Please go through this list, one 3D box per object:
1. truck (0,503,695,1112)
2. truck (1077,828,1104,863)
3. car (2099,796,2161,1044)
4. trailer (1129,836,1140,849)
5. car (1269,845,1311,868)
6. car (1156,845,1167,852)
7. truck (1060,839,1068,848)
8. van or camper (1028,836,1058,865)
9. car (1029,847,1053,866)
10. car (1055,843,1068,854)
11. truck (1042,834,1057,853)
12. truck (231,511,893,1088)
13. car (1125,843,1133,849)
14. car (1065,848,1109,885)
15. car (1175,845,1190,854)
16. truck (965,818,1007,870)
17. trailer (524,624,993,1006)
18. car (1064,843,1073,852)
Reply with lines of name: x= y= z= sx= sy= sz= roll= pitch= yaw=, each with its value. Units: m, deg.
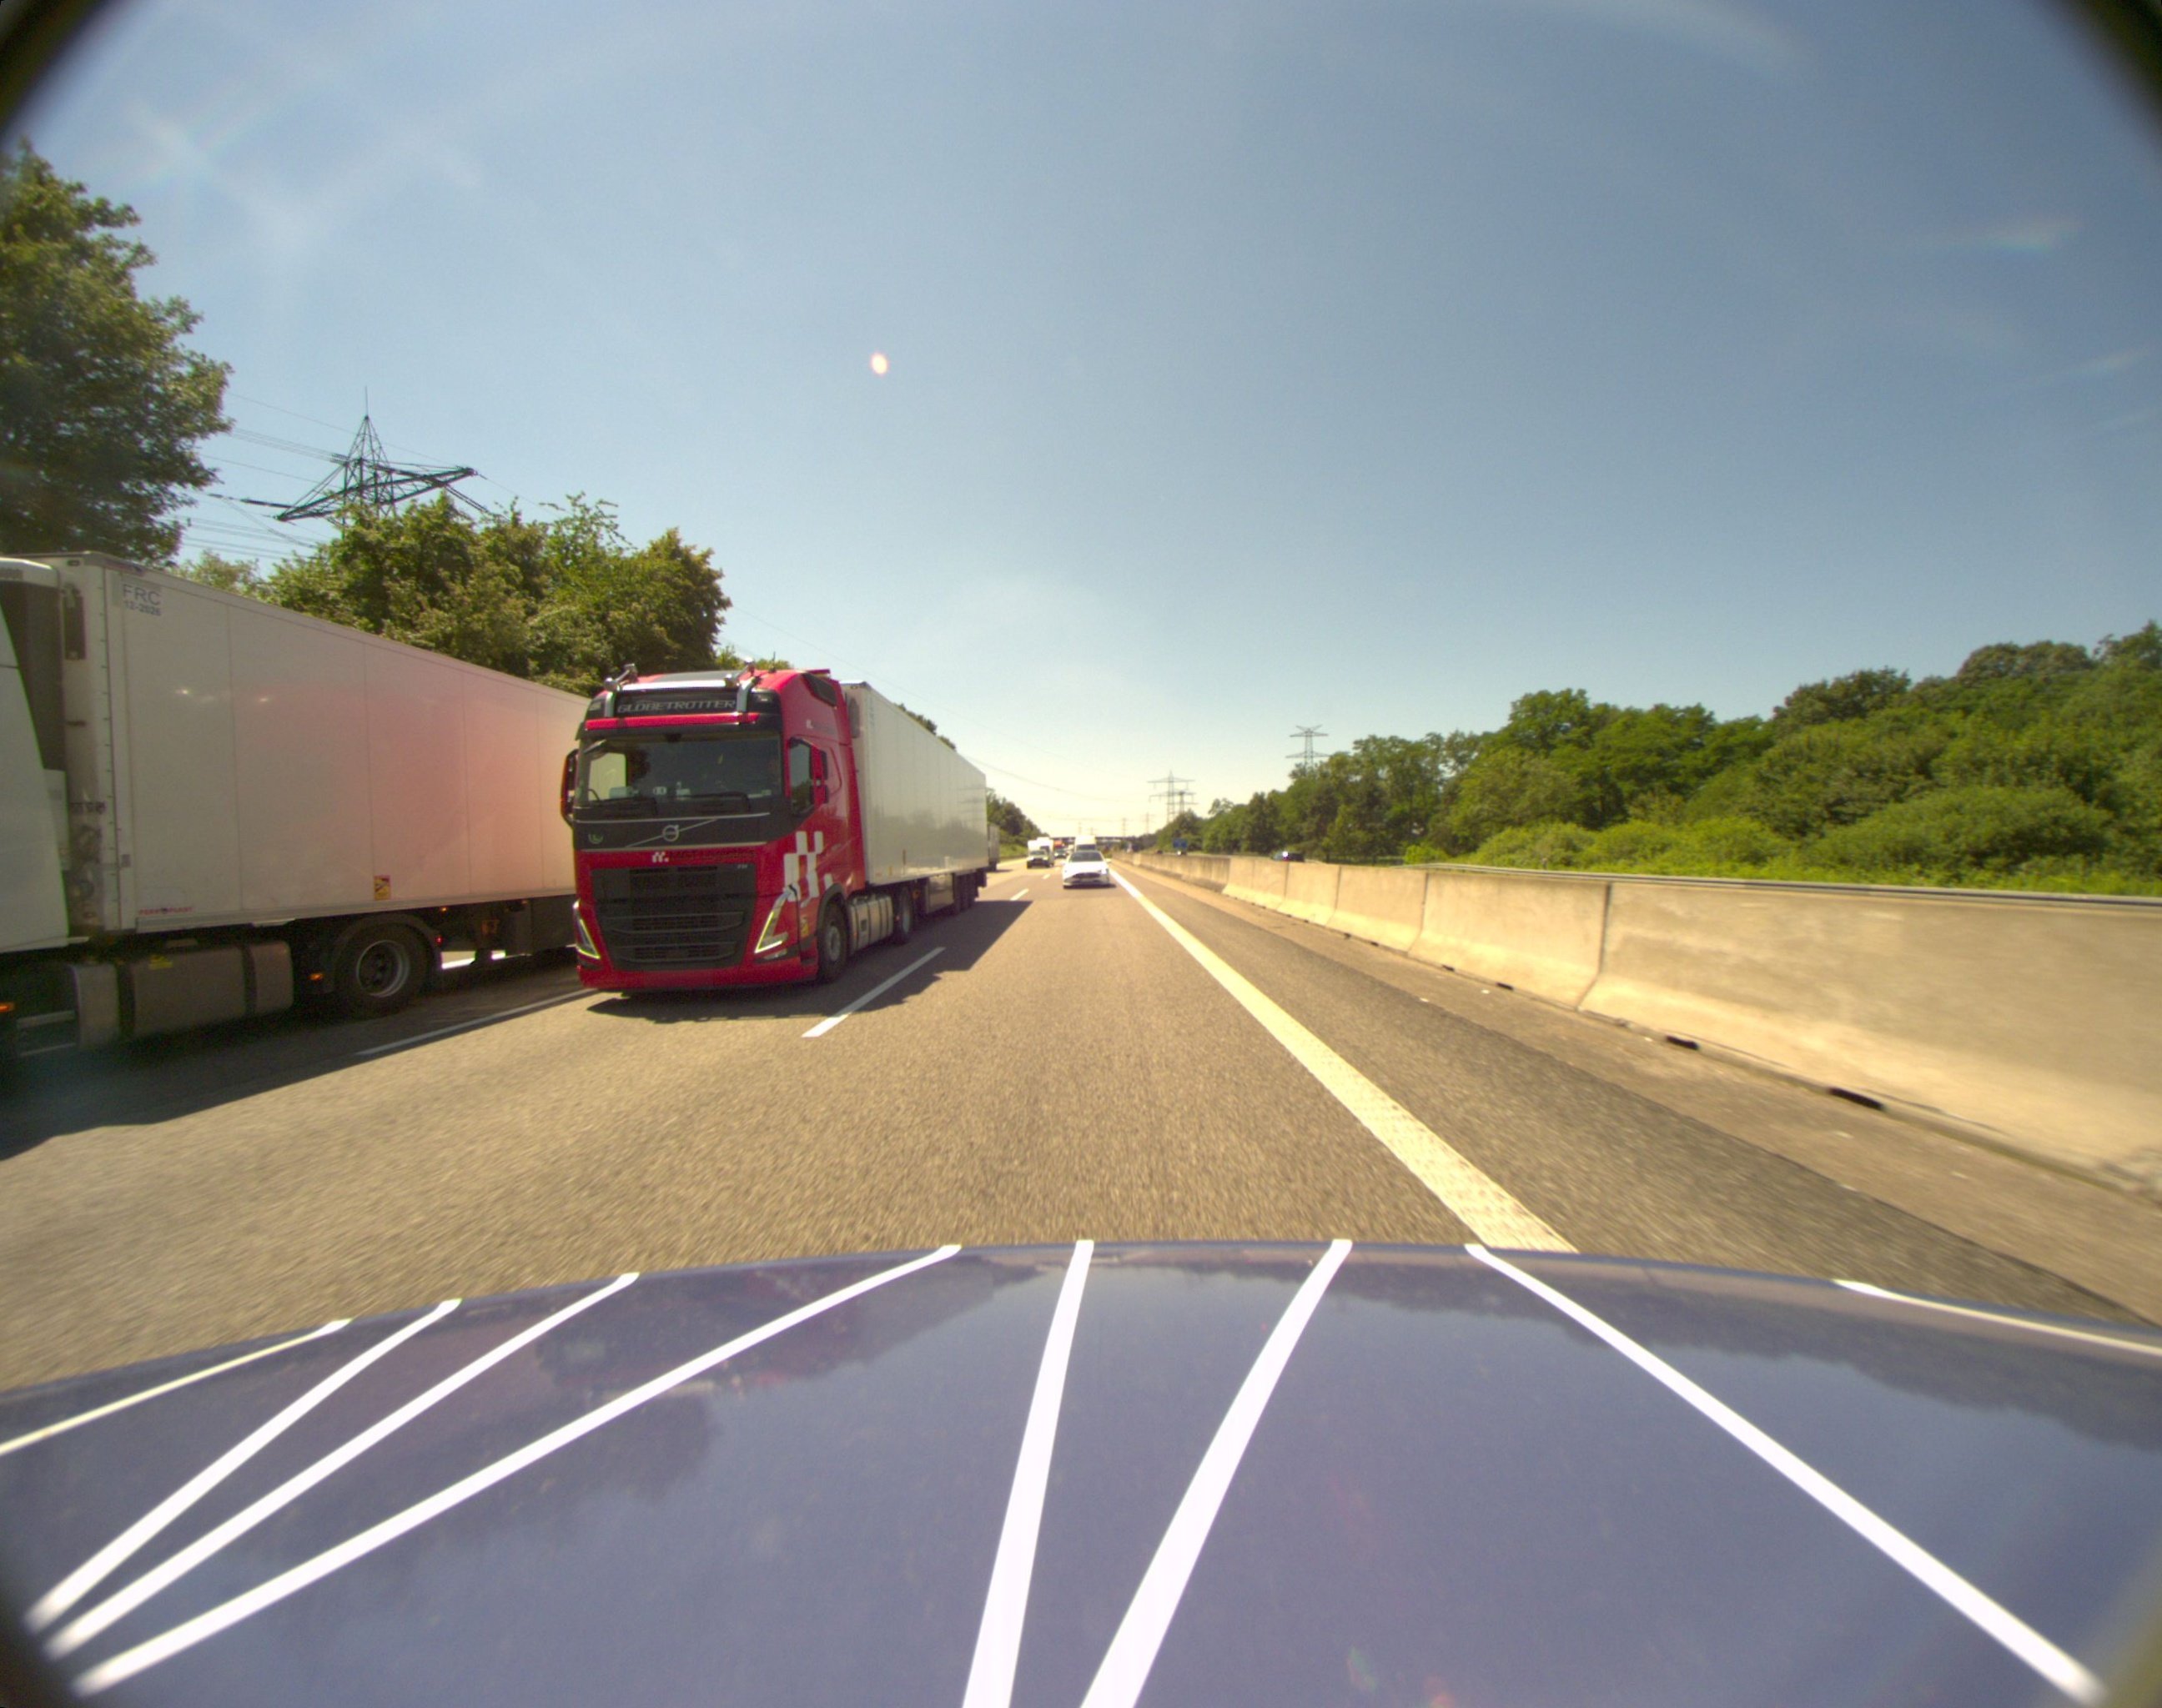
truck: x=-8.662 y=-0.325 z=8.186 sx=3.033 sy=4.069 sz=10.976 roll=-2 pitch=1 yaw=1
truck: x=0.827 y=-0.762 z=68.349 sx=2.192 sy=2.842 sz=5.503 roll=-3 pitch=1 yaw=0
car: x=9.730 y=0.611 z=3.373 sx=1.998 sy=2.002 sz=6.221 roll=2 pitch=1 yaw=1
trailer: x=18.004 y=-3.907 z=256.431 sx=2.478 sy=4.107 sz=13.463 roll=2 pitch=1 yaw=0
car: x=14.196 y=0.136 z=51.833 sx=1.774 sy=1.463 sz=3.999 roll=0 pitch=1 yaw=1
car: x=18.869 y=-1.278 z=178.464 sx=1.998 sy=1.549 sz=4.683 roll=1 pitch=1 yaw=0
truck: x=-5.478 y=-3.330 z=245.815 sx=2.619 sy=2.801 sz=6.593 roll=-1 pitch=1 yaw=0
van or camper: x=-3.494 y=-0.329 z=71.210 sx=2.411 sy=2.483 sz=6.431 roll=-1 pitch=1 yaw=0
car: x=-3.442 y=0.212 z=65.929 sx=1.788 sy=1.521 sz=4.104 roll=-1 pitch=1 yaw=0
car: x=-3.125 y=-0.849 z=122.560 sx=1.904 sy=1.662 sz=3.999 roll=-2 pitch=1 yaw=0
truck: x=-6.458 y=-2.129 z=156.628 sx=2.584 sy=3.704 sz=8.278 roll=-2 pitch=1 yaw=0
truck: x=-4.392 y=-0.416 z=8.416 sx=2.948 sy=3.963 sz=6.100 roll=-2 pitch=1 yaw=0
car: x=14.985 y=-2.491 z=236.266 sx=1.998 sy=2.002 sz=4.938 roll=1 pitch=1 yaw=0
car: x=0.255 y=0.500 z=33.939 sx=1.788 sy=1.462 sz=3.999 roll=-2 pitch=1 yaw=0
car: x=18.248 y=-0.846 z=136.683 sx=1.913 sy=1.470 sz=4.824 roll=1 pitch=1 yaw=0
truck: x=-7.489 y=-0.762 z=61.016 sx=1.987 sy=3.750 sz=10.041 roll=-2 pitch=1 yaw=0
trailer: x=-4.380 y=-0.535 z=16.244 sx=2.945 sy=3.995 sz=16.196 roll=-2 pitch=1 yaw=0
car: x=-2.917 y=-1.458 z=173.477 sx=1.998 sy=2.002 sz=3.999 roll=0 pitch=1 yaw=0
